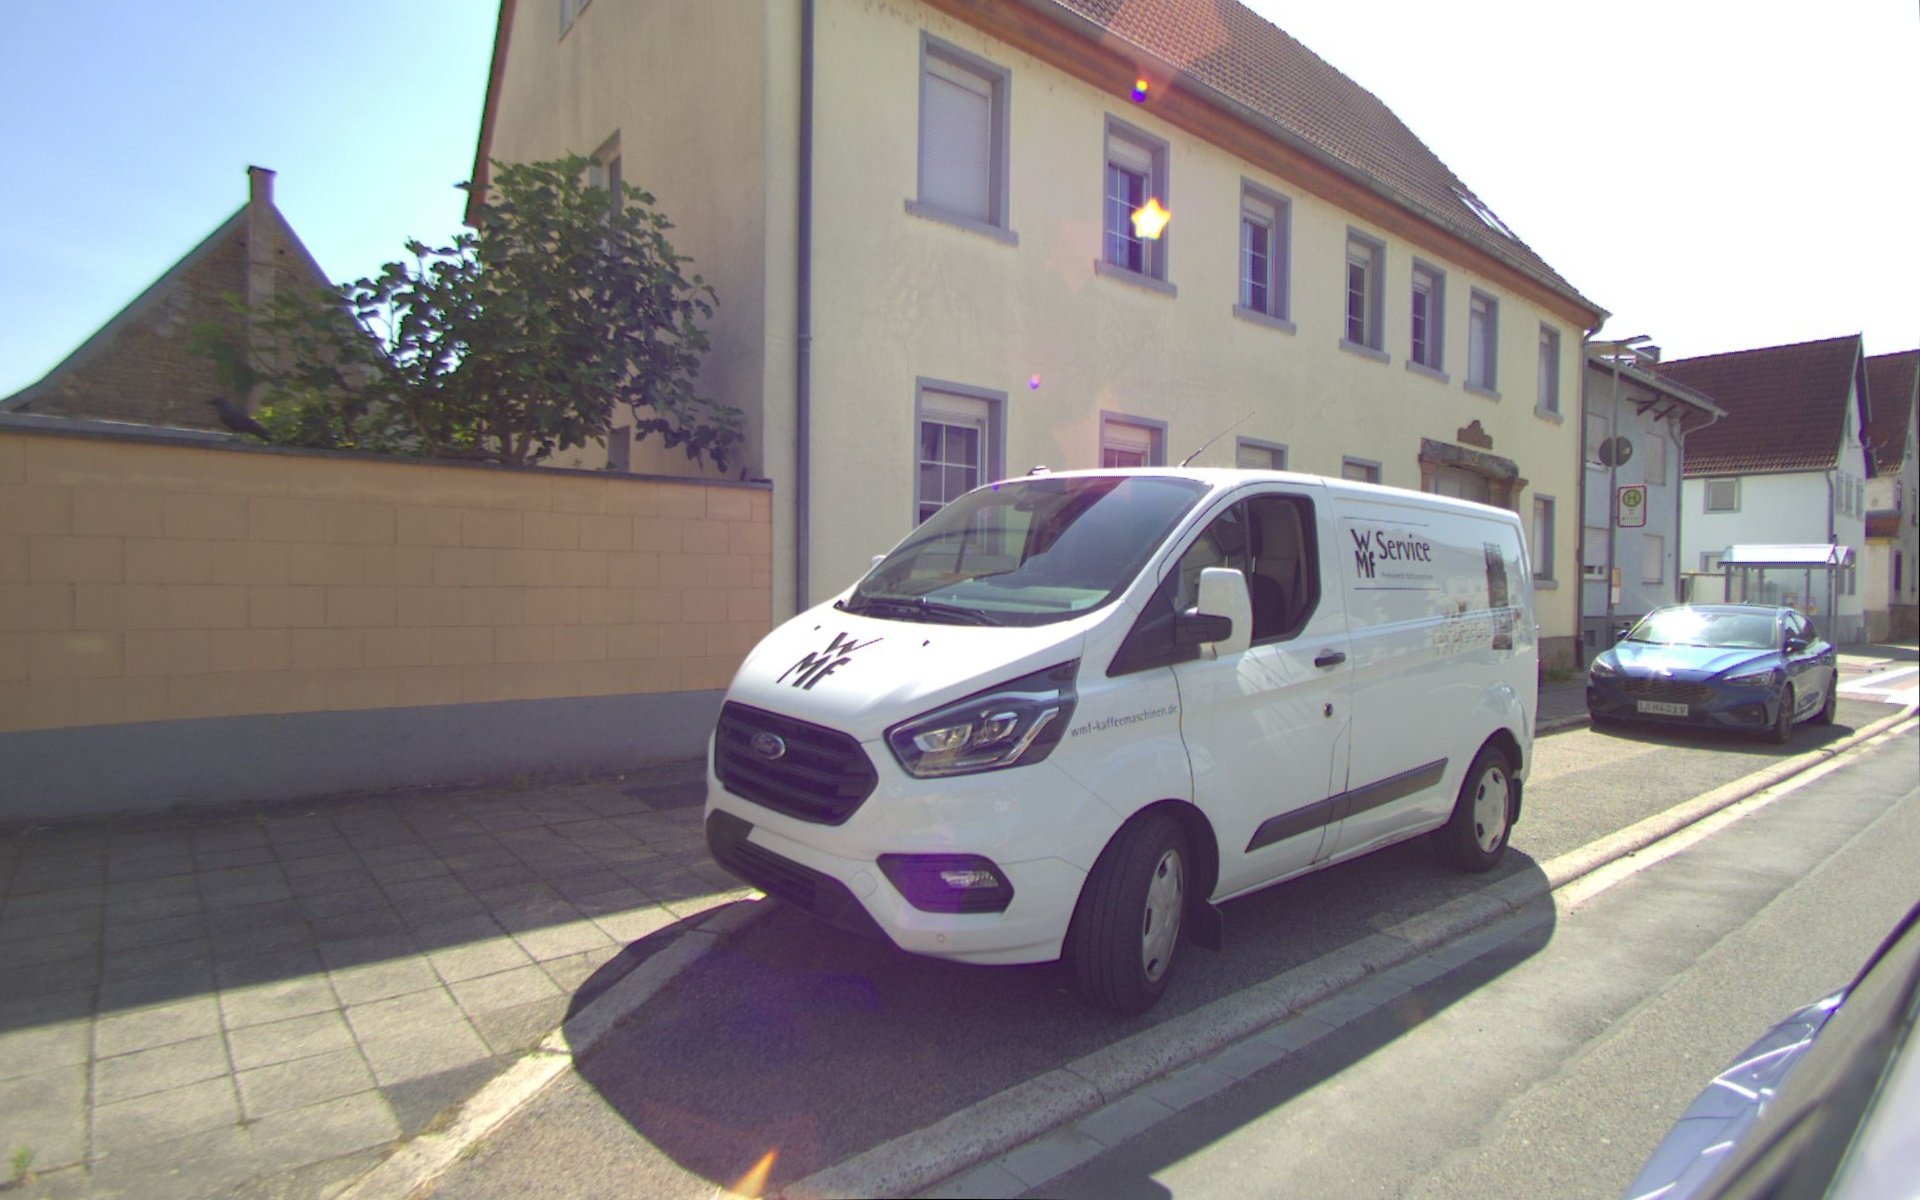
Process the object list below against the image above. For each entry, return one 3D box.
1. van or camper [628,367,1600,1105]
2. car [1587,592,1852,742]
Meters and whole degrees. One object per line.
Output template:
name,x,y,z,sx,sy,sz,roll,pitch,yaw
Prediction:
van or camper,1.256,0.334,5.203,5.253,1.978,1.997,0,2,-42
car,8.997,0.664,11.873,3.917,1.445,1.731,0,1,-42
